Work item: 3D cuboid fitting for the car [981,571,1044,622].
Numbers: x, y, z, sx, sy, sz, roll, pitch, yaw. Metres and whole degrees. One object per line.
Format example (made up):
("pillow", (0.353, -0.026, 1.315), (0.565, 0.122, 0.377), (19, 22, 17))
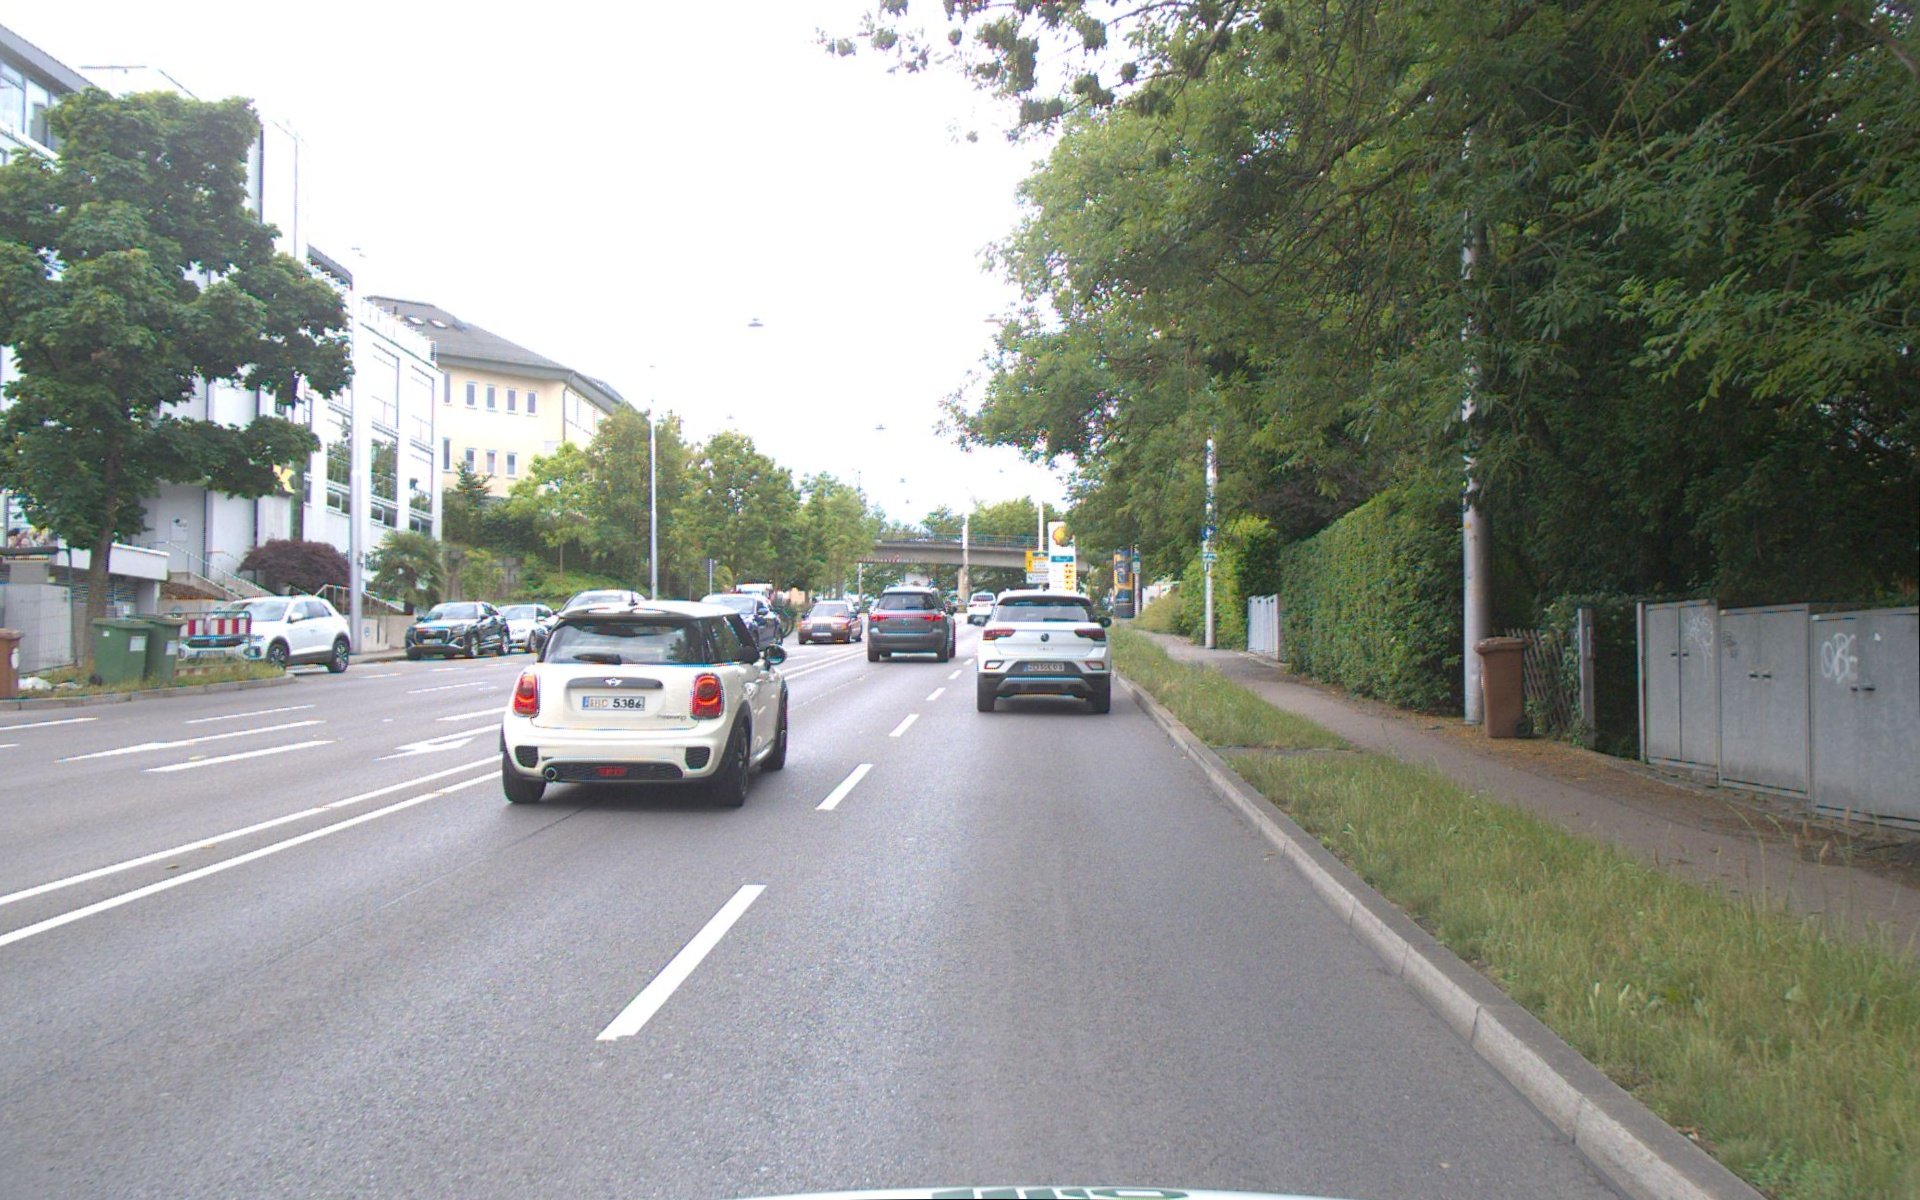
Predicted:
("car", (1.689, -0.080, 55.011), (1.835, 1.527, 4.554), (3, -1, -1))

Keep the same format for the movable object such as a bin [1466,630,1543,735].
("movable object such as a bin", (5.184, 0.775, 15.766), (0.543, 0.964, 0.567), (1, 0, -1))

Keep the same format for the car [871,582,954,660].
("car", (-1.074, 0.457, 38.197), (1.776, 1.681, 4.635), (0, 0, -1))

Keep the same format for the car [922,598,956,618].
("car", (-1.659, 0.608, 129.665), (1.862, 1.569, 4.679), (0, 0, -11))

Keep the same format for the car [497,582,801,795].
("car", (-2.260, 0.592, 12.889), (1.594, 1.418, 3.567), (0, 0, 2))

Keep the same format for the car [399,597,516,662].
("car", (-13.437, 0.767, 44.476), (1.733, 1.662, 3.917), (0, 0, 4))

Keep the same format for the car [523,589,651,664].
("car", (-8.741, 0.601, 39.122), (1.733, 1.662, 4.145), (0, 0, 6))

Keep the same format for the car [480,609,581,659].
("car", (-12.972, 0.998, 50.164), (1.733, 1.432, 4.144), (0, 0, 4))

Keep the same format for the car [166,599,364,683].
("car", (-13.508, 0.758, 32.450), (1.733, 1.525, 4.307), (0, 0, 6))

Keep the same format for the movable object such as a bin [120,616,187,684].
("movable object such as a bin", (-12.211, 0.753, 25.043), (0.631, 1.007, 0.661), (1, 0, 11))

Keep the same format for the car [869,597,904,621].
("car", (-4.943, 0.568, 110.535), (1.860, 1.569, 4.684), (0, 0, -8))

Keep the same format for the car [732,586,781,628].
("car", (-11.521, 0.382, 93.904), (2.026, 2.346, 5.465), (0, 0, 1))

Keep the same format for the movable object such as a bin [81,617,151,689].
("movable object such as a bin", (-12.446, 0.774, 24.404), (0.631, 1.033, 0.661), (1, 0, 11))

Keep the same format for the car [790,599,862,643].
("car", (-4.354, 0.655, 54.394), (1.704, 1.376, 4.848), (0, 0, 4))

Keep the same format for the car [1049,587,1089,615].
("car", (6.193, 0.058, 93.818), (1.818, 1.527, 4.059), (0, 0, 10))

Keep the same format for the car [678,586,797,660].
("car", (-5.172, 0.516, 39.171), (1.733, 1.624, 5.186), (0, 0, 5))

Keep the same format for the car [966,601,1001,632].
("car", (1.303, 0.901, 92.535), (1.820, 1.681, 4.635), (0, 0, -1))

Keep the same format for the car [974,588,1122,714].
("car", (1.115, 0.636, 22.502), (1.774, 1.566, 3.689), (0, 0, 0))

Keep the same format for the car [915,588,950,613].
("car", (-1.719, 0.034, 102.715), (1.859, 1.569, 4.687), (0, 0, -5))

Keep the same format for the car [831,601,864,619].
("car", (-10.146, 0.920, 148.787), (1.867, 1.569, 4.667), (0, 0, -19))

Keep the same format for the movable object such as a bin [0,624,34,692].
("movable object such as a bin", (-12.775, 0.769, 22.127), (0.651, 0.895, 0.641), (1, 0, -29))

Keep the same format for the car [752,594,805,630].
("car", (-8.644, 0.575, 79.241), (2.026, 1.685, 4.692), (0, 0, 0))
